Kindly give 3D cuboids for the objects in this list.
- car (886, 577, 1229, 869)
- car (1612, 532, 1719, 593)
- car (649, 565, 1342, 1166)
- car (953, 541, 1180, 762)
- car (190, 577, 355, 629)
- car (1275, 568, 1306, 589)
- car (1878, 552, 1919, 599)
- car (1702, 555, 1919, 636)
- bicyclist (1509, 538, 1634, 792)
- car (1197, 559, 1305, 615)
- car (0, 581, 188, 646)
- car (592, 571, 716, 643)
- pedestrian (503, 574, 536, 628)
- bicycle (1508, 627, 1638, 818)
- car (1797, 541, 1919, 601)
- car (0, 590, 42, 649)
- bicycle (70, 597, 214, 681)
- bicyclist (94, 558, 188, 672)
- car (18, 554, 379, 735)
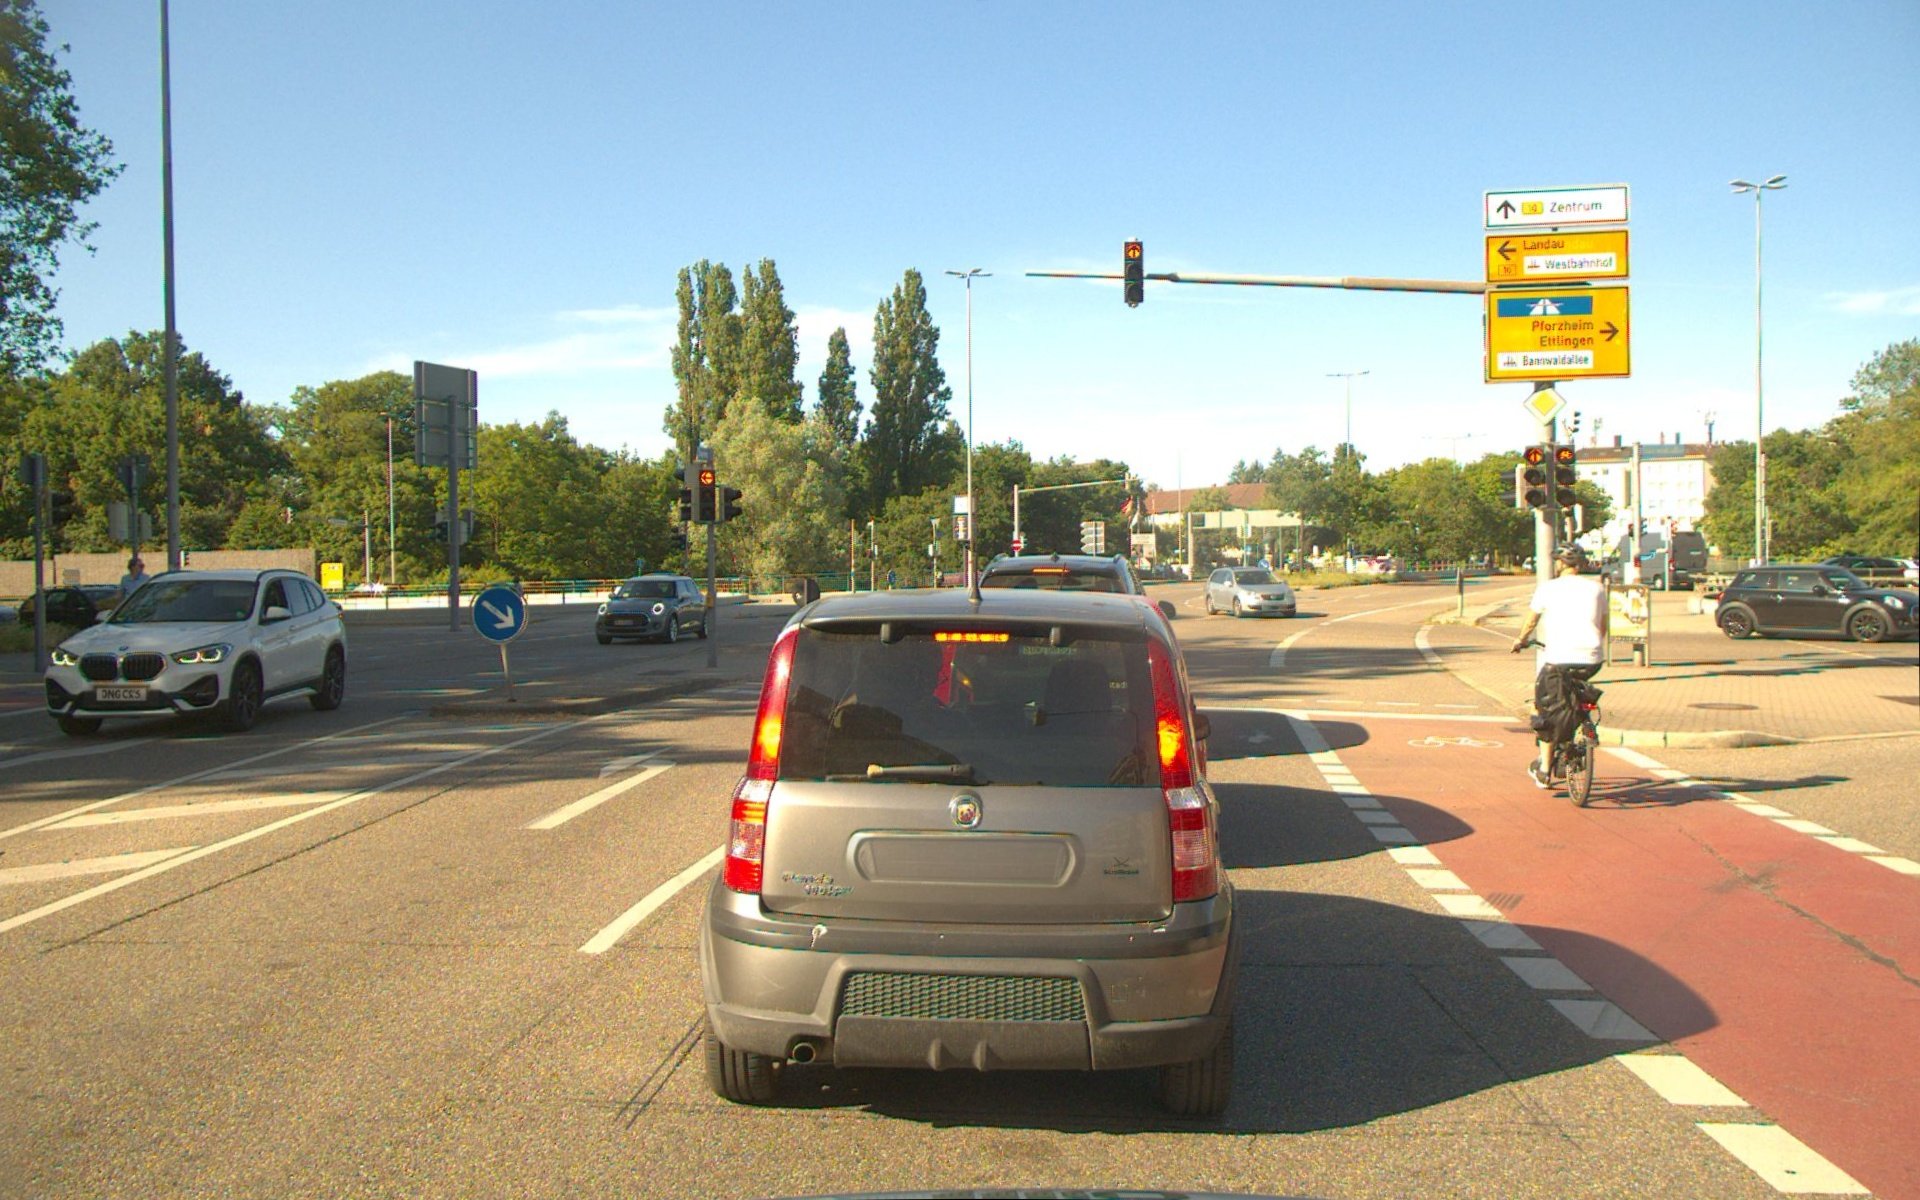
[{"bbox_3d":[0.587,0.632,10.712,1.782,1.505,4.001,1,0,2],"label":"car"},{"bbox_3d":[33.376,-1.741,78.416,2.215,2.653,4.869,1,-1,-13],"label":"car"},{"bbox_3d":[0.185,0.664,6.349,1.782,1.515,4.002,2,1,3],"label":"car"},{"bbox_3d":[1.175,0.381,16.100,1.829,1.821,4.418,1,1,8],"label":"car"},{"bbox_3d":[-20.704,0.081,49.851,4.342,1.464,1.828,-1,1,14],"label":"car"},{"bbox_3d":[33.050,-2.137,165.275,1.973,1.887,4.427,0,-2,25],"label":"car"},{"bbox_3d":[39.291,-0.999,66.322,1.984,1.781,3.936,2,-2,-43],"label":"car"},{"bbox_3d":[16.870,-0.081,32.224,1.983,1.478,3.938,-2,0,-42],"label":"car"},{"bbox_3d":[4.418,0.431,11.998,0.783,1.734,1.086,1,1,19],"label":"bicyclist"},{"bbox_3d":[8.570,-0.413,49.095,1.720,1.519,4.338,-1,2,-11],"label":"car"},{"bbox_3d":[-21.012,0.328,39.913,4.345,1.464,1.826,-1,1,22],"label":"car"},{"bbox_3d":[-6.769,0.121,36.979,1.650,1.482,3.917,0,1,6],"label":"car"},{"bbox_3d":[-13.507,0.034,50.764,0.673,1.565,1.365,0,-4,-3],"label":"pedestrian"},{"bbox_3d":[4.409,0.815,11.993,0.783,1.130,2.403,1,2,19],"label":"bicycle"},{"bbox_3d":[33.205,-1.020,60.930,3.922,2.049,1.991,-1,-2,38],"label":"car"},{"bbox_3d":[-26.408,0.533,43.261,4.345,1.464,1.826,-1,1,22],"label":"car"},{"bbox_3d":[-12.801,0.587,25.965,0.672,1.223,2.329,-1,1,14],"label":"bicycle"},{"bbox_3d":[-12.818,0.221,25.920,0.672,1.731,1.199,-1,1,14],"label":"bicyclist"},{"bbox_3d":[-8.043,0.449,18.023,1.796,1.682,4.628,-1,-1,0],"label":"car"}]
